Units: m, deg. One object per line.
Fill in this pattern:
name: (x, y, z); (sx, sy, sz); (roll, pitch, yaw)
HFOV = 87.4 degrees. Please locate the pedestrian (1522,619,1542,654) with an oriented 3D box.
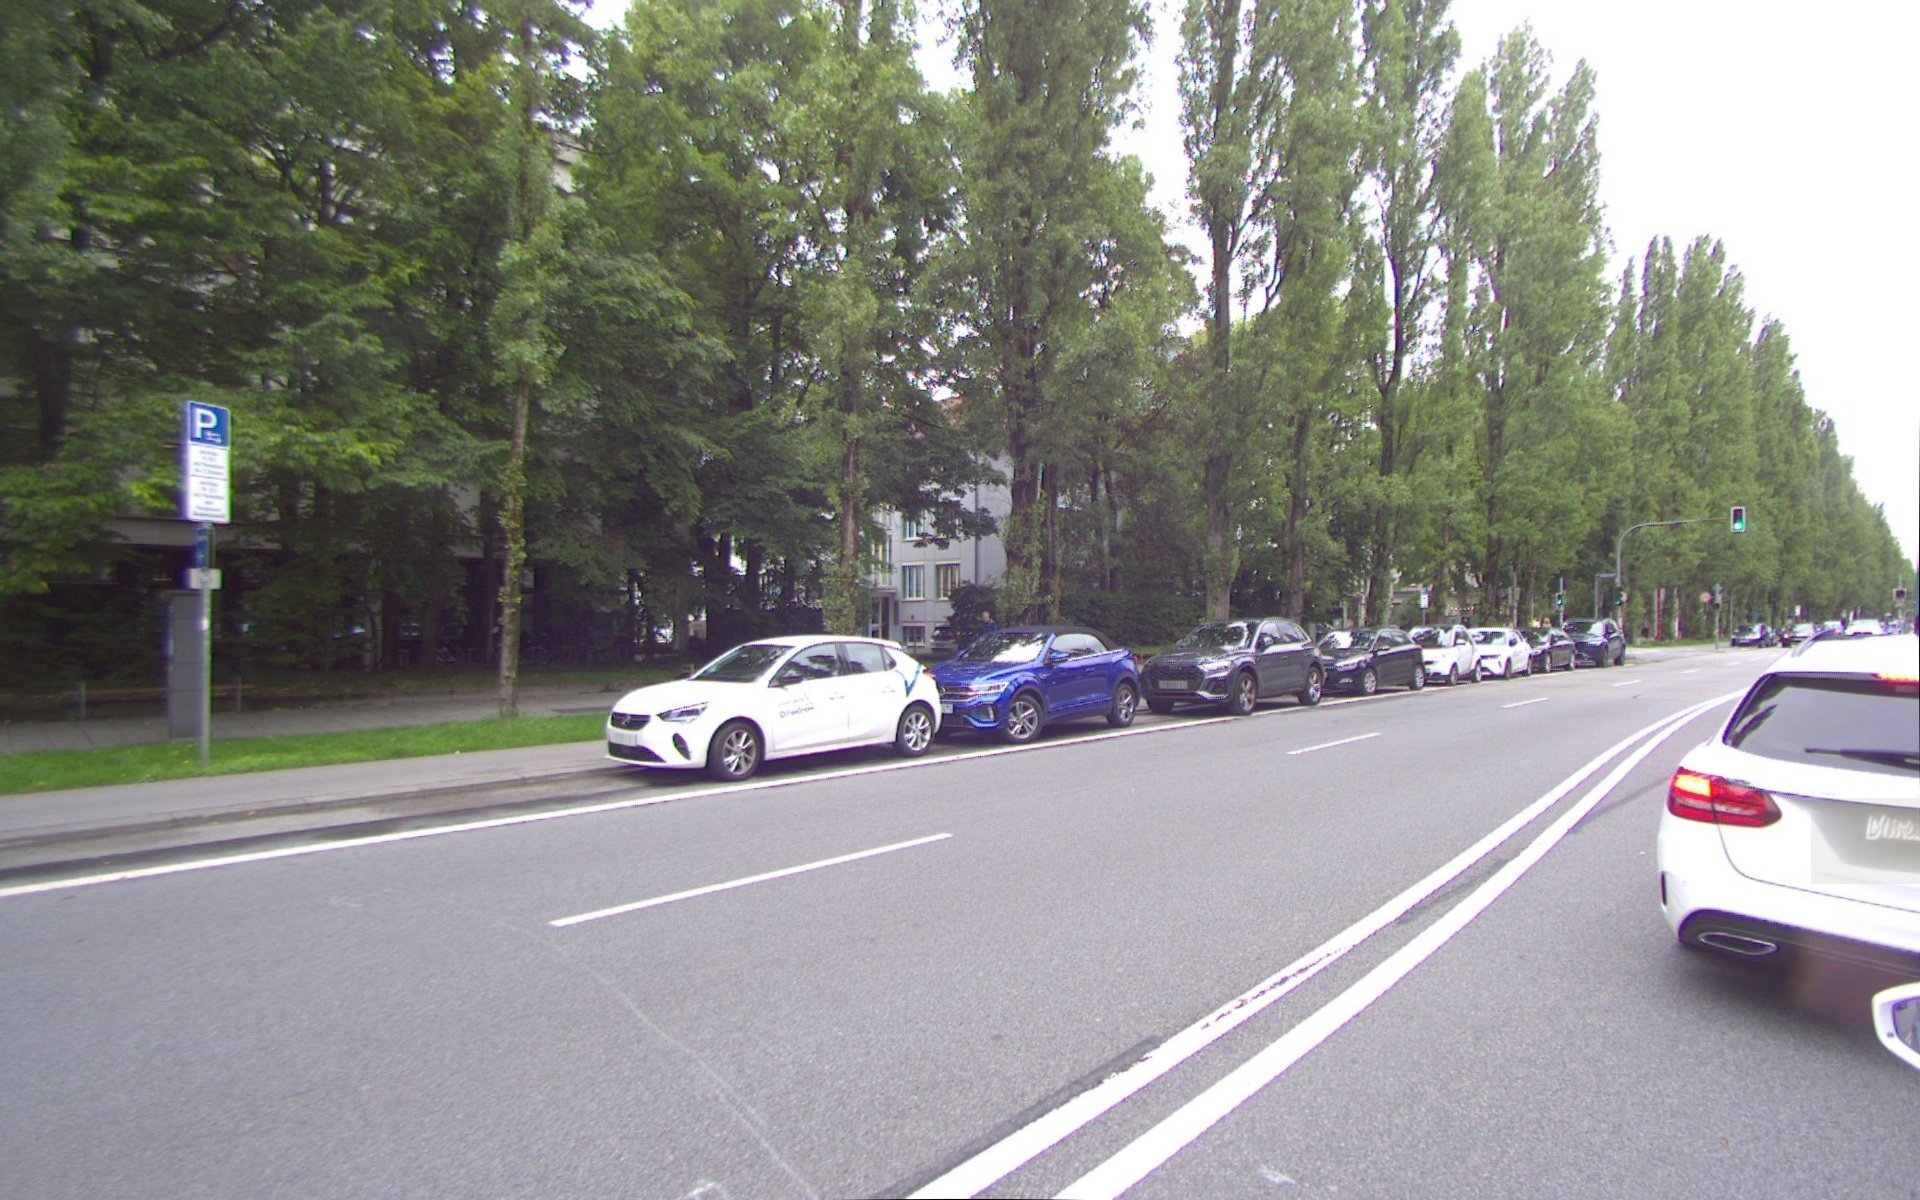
pedestrian: (28.709, 1.821, 50.385); (0.695, 1.759, 0.805); (0, -1, 44)

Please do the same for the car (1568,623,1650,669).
car: (23.662, 1.639, 36.578); (3.974, 1.572, 1.690); (1, -1, -45)

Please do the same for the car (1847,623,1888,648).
car: (63.078, 2.452, 69.812); (1.973, 1.641, 3.976); (0, -1, 44)

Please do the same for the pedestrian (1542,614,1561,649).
pedestrian: (35.131, 1.851, 59.649); (0.821, 2.040, 0.773); (0, -1, 43)

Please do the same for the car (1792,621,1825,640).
car: (77.164, 2.754, 91.317); (1.973, 1.613, 4.415); (-1, -1, 45)

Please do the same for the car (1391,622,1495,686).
car: (12.716, 1.368, 26.368); (3.421, 1.572, 1.396); (1, -1, -45)

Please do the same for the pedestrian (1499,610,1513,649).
pedestrian: (28.640, 1.542, 52.642); (0.497, 2.040, 0.597); (-1, -1, 44)

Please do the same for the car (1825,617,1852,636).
car: (96.967, 2.954, 110.884); (4.434, 2.040, 1.974); (1, -1, -45)

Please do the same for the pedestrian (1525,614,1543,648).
pedestrian: (34.344, 1.844, 60.110); (0.821, 2.040, 0.773); (0, -1, 43)

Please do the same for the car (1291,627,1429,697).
car: (9.105, 1.367, 22.716); (1.523, 1.452, 3.846); (-4, -4, 43)

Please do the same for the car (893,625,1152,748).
car: (1.044, 1.149, 14.687); (1.722, 1.538, 4.099); (-2, -3, 39)

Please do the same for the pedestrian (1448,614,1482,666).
pedestrian: (17.883, 1.409, 35.540); (0.812, 1.787, 1.075); (0, -1, 43)

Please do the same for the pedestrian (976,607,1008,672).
pedestrian: (0.876, 1.080, 27.607); (0.636, 1.762, 0.593); (1, -1, -45)

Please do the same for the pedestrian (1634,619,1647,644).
pedestrian: (57.603, 2.672, 85.049); (0.821, 2.040, 0.773); (0, -1, 42)

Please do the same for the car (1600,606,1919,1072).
car: (4.765, 0.816, 4.735); (4.548, 1.474, 1.809); (1, 0, -42)

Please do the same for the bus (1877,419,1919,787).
bus: (12.651, 0.092, 10.882); (8.984, 3.256, 2.832); (1, 0, -40)

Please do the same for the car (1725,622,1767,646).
car: (51.841, 2.221, 66.211); (1.802, 1.506, 3.975); (0, -1, 44)

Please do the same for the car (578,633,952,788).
car: (-2.068, 1.116, 11.453); (1.668, 1.431, 3.981); (-3, -3, 44)

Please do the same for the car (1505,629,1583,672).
car: (19.314, 1.622, 33.165); (3.823, 1.290, 1.276); (1, -1, -45)

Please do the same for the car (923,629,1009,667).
car: (0.339, 2.260, 48.014); (1.968, 1.706, 4.250); (-1, -1, 37)

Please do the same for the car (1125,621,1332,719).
car: (4.998, 1.218, 18.359); (1.772, 1.568, 4.313); (-4, -4, 43)

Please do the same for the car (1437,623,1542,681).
car: (15.398, 1.452, 29.118); (1.690, 1.568, 3.976); (-1, -2, 44)

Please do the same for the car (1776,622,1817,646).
car: (55.404, 2.250, 66.501); (1.802, 1.506, 3.975); (0, -1, 44)
